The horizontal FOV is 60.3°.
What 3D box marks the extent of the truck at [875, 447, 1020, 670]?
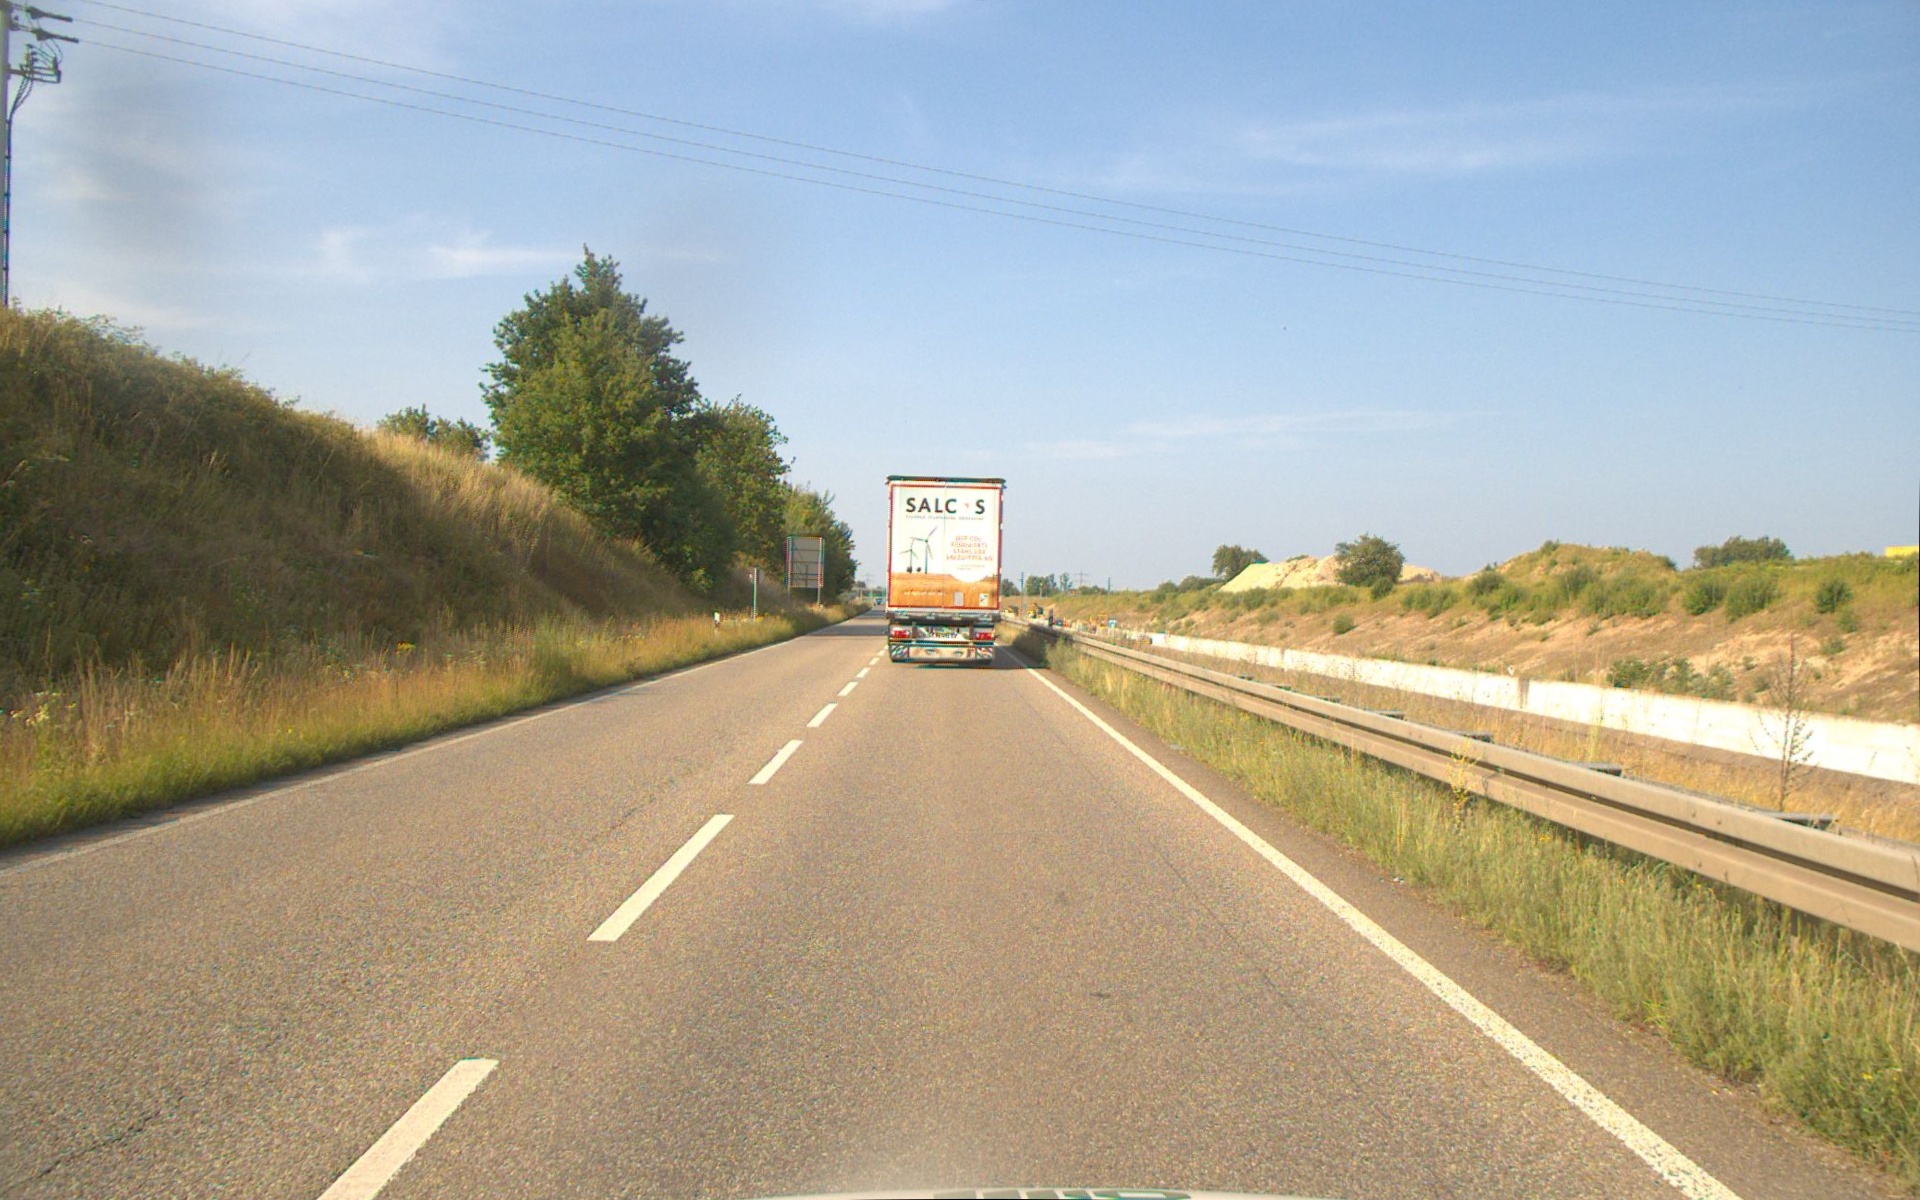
[{"bbox_3d":[-0.445,-0.882,39.826,3.090,4.770,8.437,1,0,-2],"label":"truck"}]
